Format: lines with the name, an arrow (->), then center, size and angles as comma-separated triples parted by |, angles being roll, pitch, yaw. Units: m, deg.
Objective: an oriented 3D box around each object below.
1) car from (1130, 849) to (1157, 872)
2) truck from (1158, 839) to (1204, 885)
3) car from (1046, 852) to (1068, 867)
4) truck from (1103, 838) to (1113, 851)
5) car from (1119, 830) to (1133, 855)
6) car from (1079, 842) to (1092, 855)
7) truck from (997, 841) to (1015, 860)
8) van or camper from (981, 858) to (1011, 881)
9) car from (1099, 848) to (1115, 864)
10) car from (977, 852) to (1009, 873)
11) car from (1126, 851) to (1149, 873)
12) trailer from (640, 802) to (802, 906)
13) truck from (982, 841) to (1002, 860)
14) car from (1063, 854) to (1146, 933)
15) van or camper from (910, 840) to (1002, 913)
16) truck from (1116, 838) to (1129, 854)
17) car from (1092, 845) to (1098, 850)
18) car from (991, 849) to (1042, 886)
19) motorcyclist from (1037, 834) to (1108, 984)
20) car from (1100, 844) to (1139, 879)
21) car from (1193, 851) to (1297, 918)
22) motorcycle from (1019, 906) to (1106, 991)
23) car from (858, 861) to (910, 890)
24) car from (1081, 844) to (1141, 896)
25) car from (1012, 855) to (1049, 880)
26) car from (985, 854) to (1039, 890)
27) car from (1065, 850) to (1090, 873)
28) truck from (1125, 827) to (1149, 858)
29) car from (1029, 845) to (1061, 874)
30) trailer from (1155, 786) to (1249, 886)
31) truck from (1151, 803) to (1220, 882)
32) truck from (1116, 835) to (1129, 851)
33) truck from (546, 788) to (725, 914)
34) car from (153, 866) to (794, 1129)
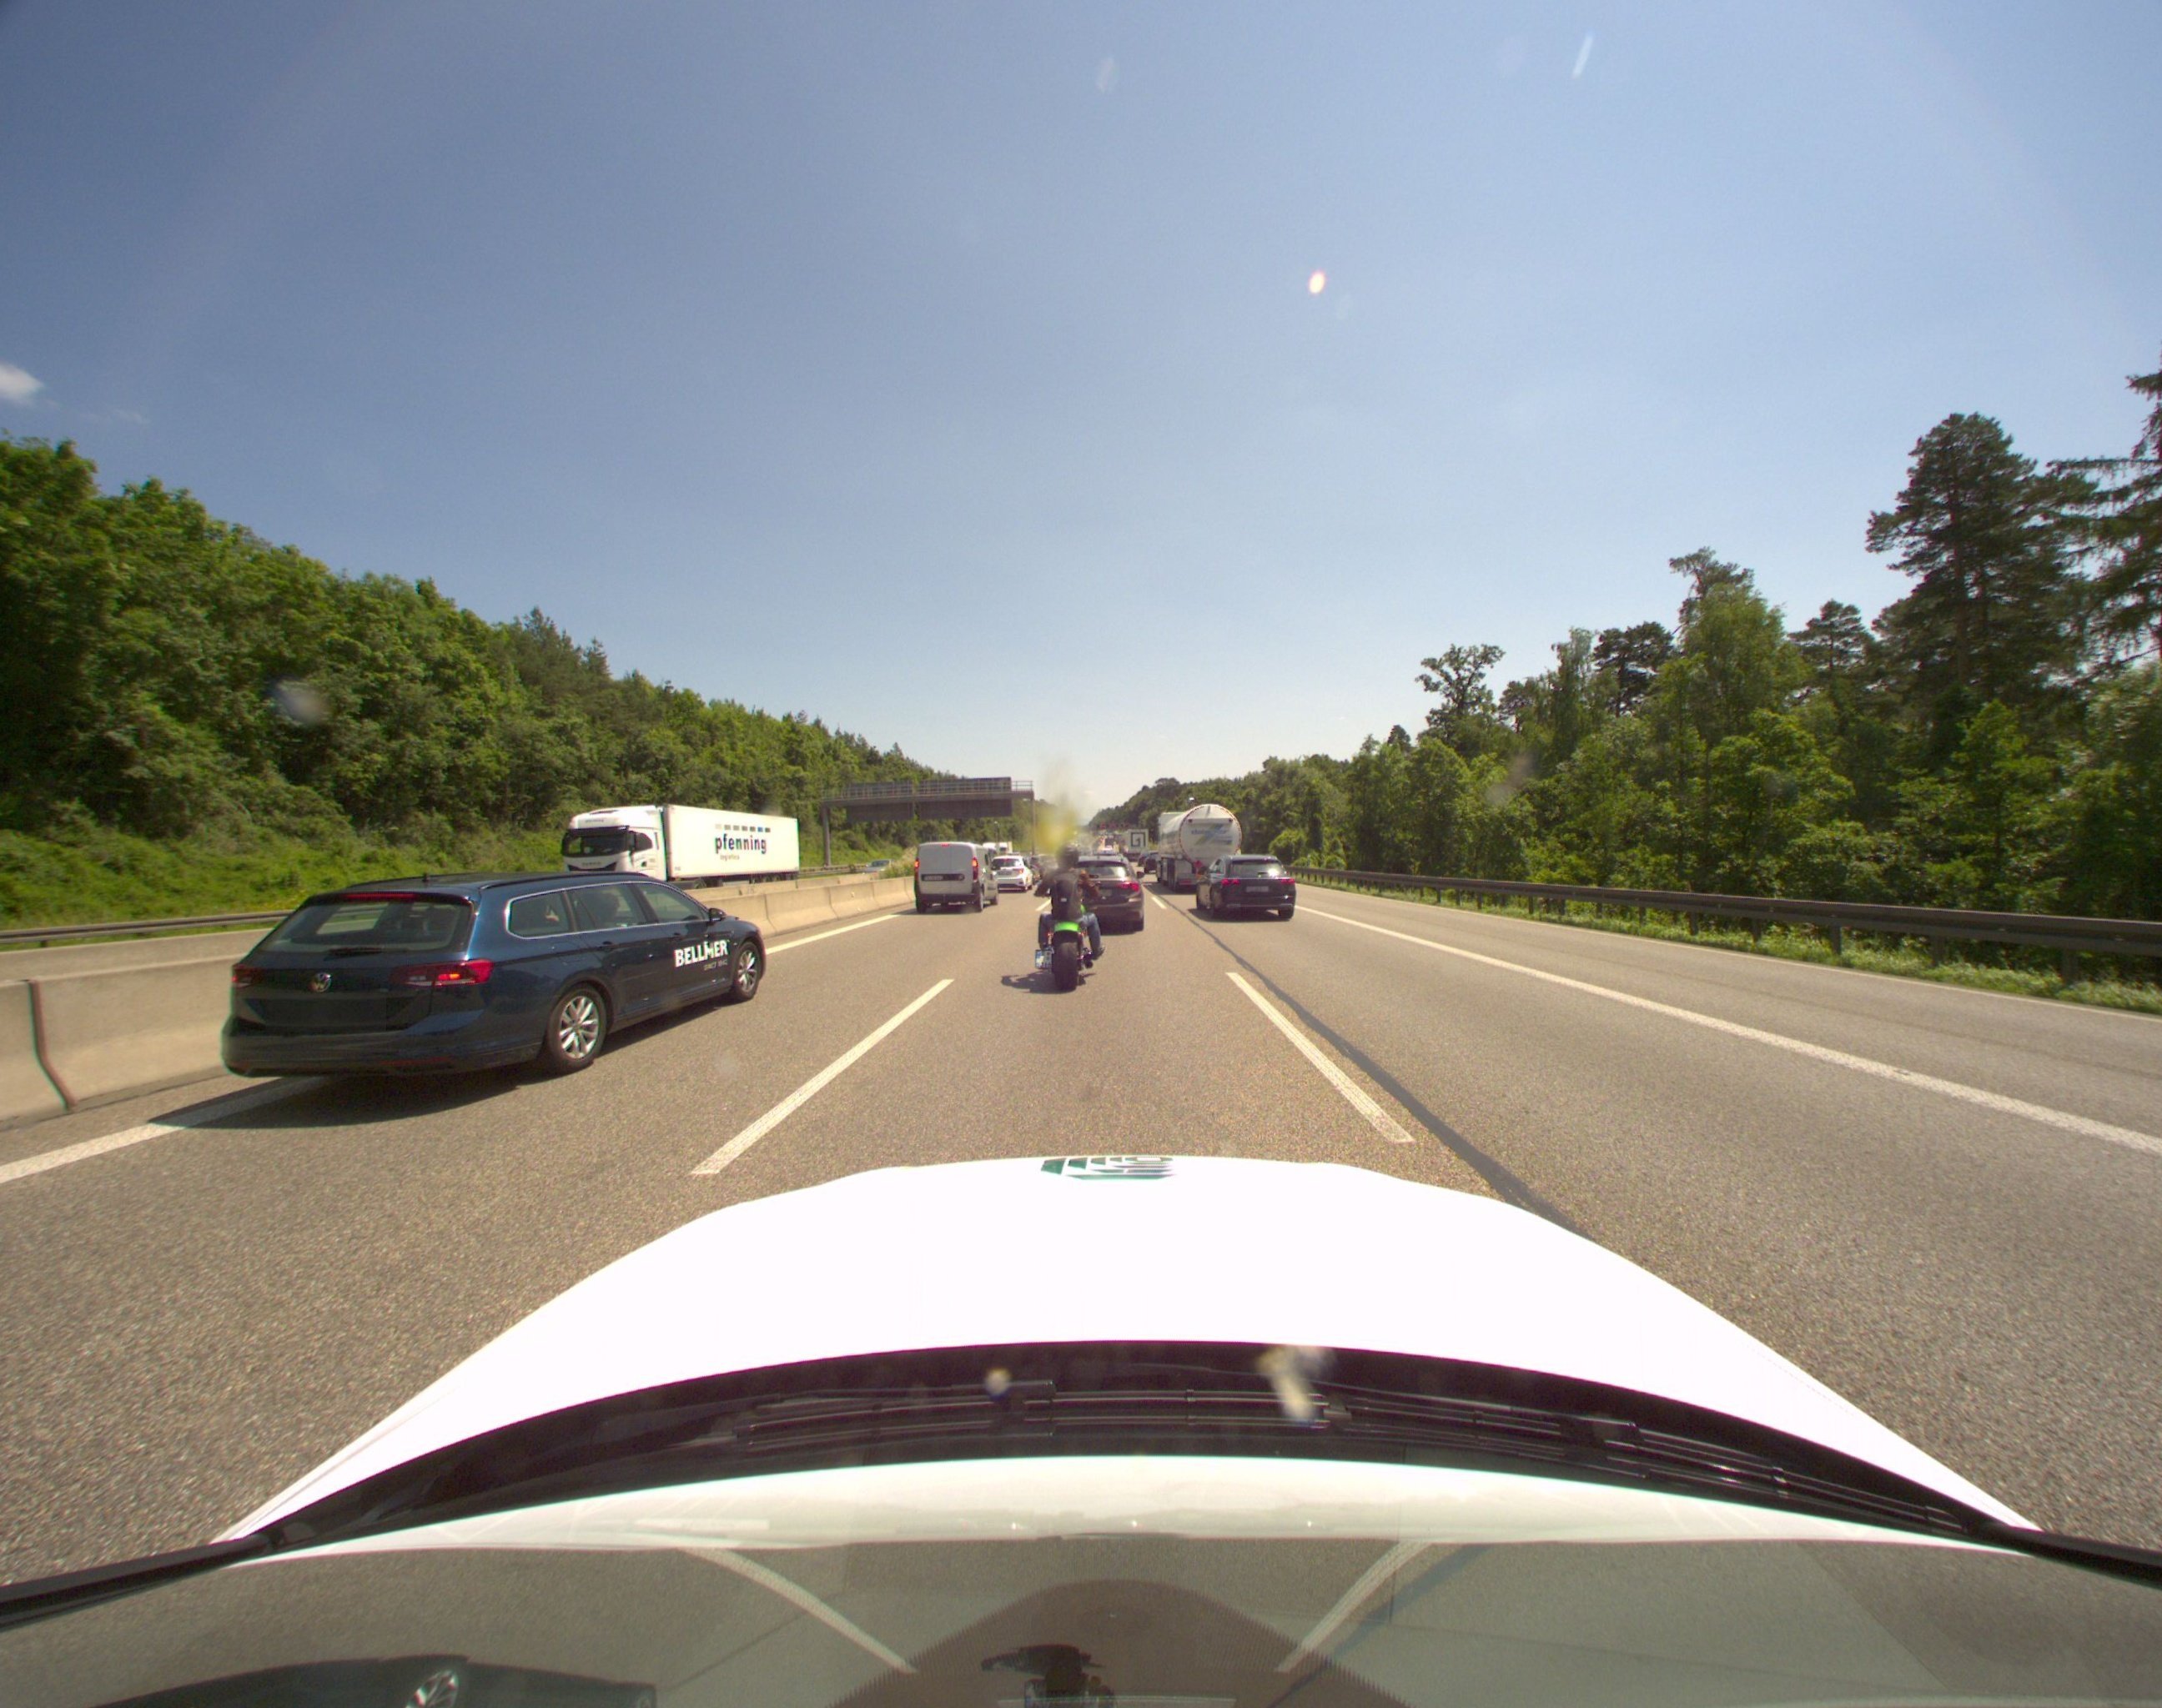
car -> 4.428, 0.486, 57.883 | 1.769, 1.527, 4.001 | 0, -1, 2
truck -> 6.913, 0.490, 57.382 | 2.380, 2.979, 8.254 | -1, 0, 1
car -> -2.287, 0.551, 77.866 | 1.757, 1.442, 4.002 | -1, -1, 2
truck -> 7.545, -2.621, 226.341 | 2.686, 3.405, 10.483 | -2, 0, 2
car -> 7.501, -1.849, 136.000 | 2.159, 3.893, 9.333 | 0, -1, 2
car -> 0.734, -0.831, 129.584 | 1.986, 2.013, 4.002 | -2, 0, 2
truck -> -15.672, -0.683, 170.785 | 2.682, 3.990, 7.993 | 0, -1, 2
van or camper -> -7.814, 1.419, 75.449 | 1.985, 2.014, 4.932 | -1, -1, 4
car -> 3.396, 0.282, 106.211 | 1.986, 2.013, 4.002 | -1, 0, 2
car -> -6.457, 0.623, 60.360 | 1.818, 1.494, 4.001 | -1, 0, 1
car -> 5.297, 0.759, 76.758 | 1.987, 2.014, 4.000 | 0, -1, 0
trailer -> -17.446, 0.091, 40.645 | 2.938, 4.481, 10.820 | 0, -1, 2
truck -> -13.945, -0.545, 128.351 | 2.170, 2.885, 6.744 | 0, -1, 1
car -> 0.511, 0.739, 17.108 | 1.535, 1.450, 4.002 | 0, 0, 2
van or camper -> -3.448, 0.564, 23.307 | 1.846, 1.880, 4.562 | 0, 0, 1
truck -> 5.692, -1.075, 111.110 | 1.584, 2.111, 3.755 | -1, -1, 4
car -> 4.389, -2.114, 253.469 | 1.763, 1.556, 4.002 | -2, 0, 2
car -> -3.095, 0.642, 39.705 | 1.986, 1.684, 4.332 | 0, -1, 2
motorcyclist -> -0.085, 0.632, 9.768 | 0.796, 1.688, 1.017 | 0, -1, 2
car -> 2.000, 0.418, 43.280 | 1.986, 1.775, 4.000 | 0, -1, 1
car -> 3.914, 0.696, 20.154 | 1.785, 1.458, 4.626 | 0, -1, 2
motorcycle -> -0.166, 1.109, 10.086 | 0.932, 0.793, 2.300 | 0, 0, 2
car -> -12.532, 1.344, 52.046 | 1.985, 1.763, 4.456 | -1, -1, 4
car -> 1.046, 0.569, 29.240 | 1.986, 1.711, 4.000 | 0, -1, 1
car -> -3.026, 0.815, 49.370 | 1.987, 1.464, 3.999 | 0, -1, 0
car -> -2.855, 0.737, 34.347 | 1.769, 1.411, 4.001 | 0, -1, 2
car -> -0.285, 0.713, 73.322 | 1.986, 2.014, 4.001 | 0, -1, 2
truck -> 7.219, -1.394, 103.965 | 2.840, 3.821, 7.196 | -1, -1, 5
car -> -2.563, 0.433, 58.890 | 1.986, 2.014, 4.001 | 0, -1, 1
trailer -> 4.925, -0.581, 35.260 | 2.817, 3.671, 10.736 | 0, -1, 2
truck -> 5.139, -0.488, 41.055 | 2.817, 3.671, 6.432 | 0, -1, 2
truck -> 9.295, -2.367, 181.826 | 2.686, 3.405, 10.483 | -2, 0, 2
truck -> -17.683, -0.052, 33.086 | 2.938, 4.481, 7.520 | 0, -1, 2
car -> -4.297, 0.856, 6.990 | 1.867, 1.450, 4.680 | 0, 0, 2
